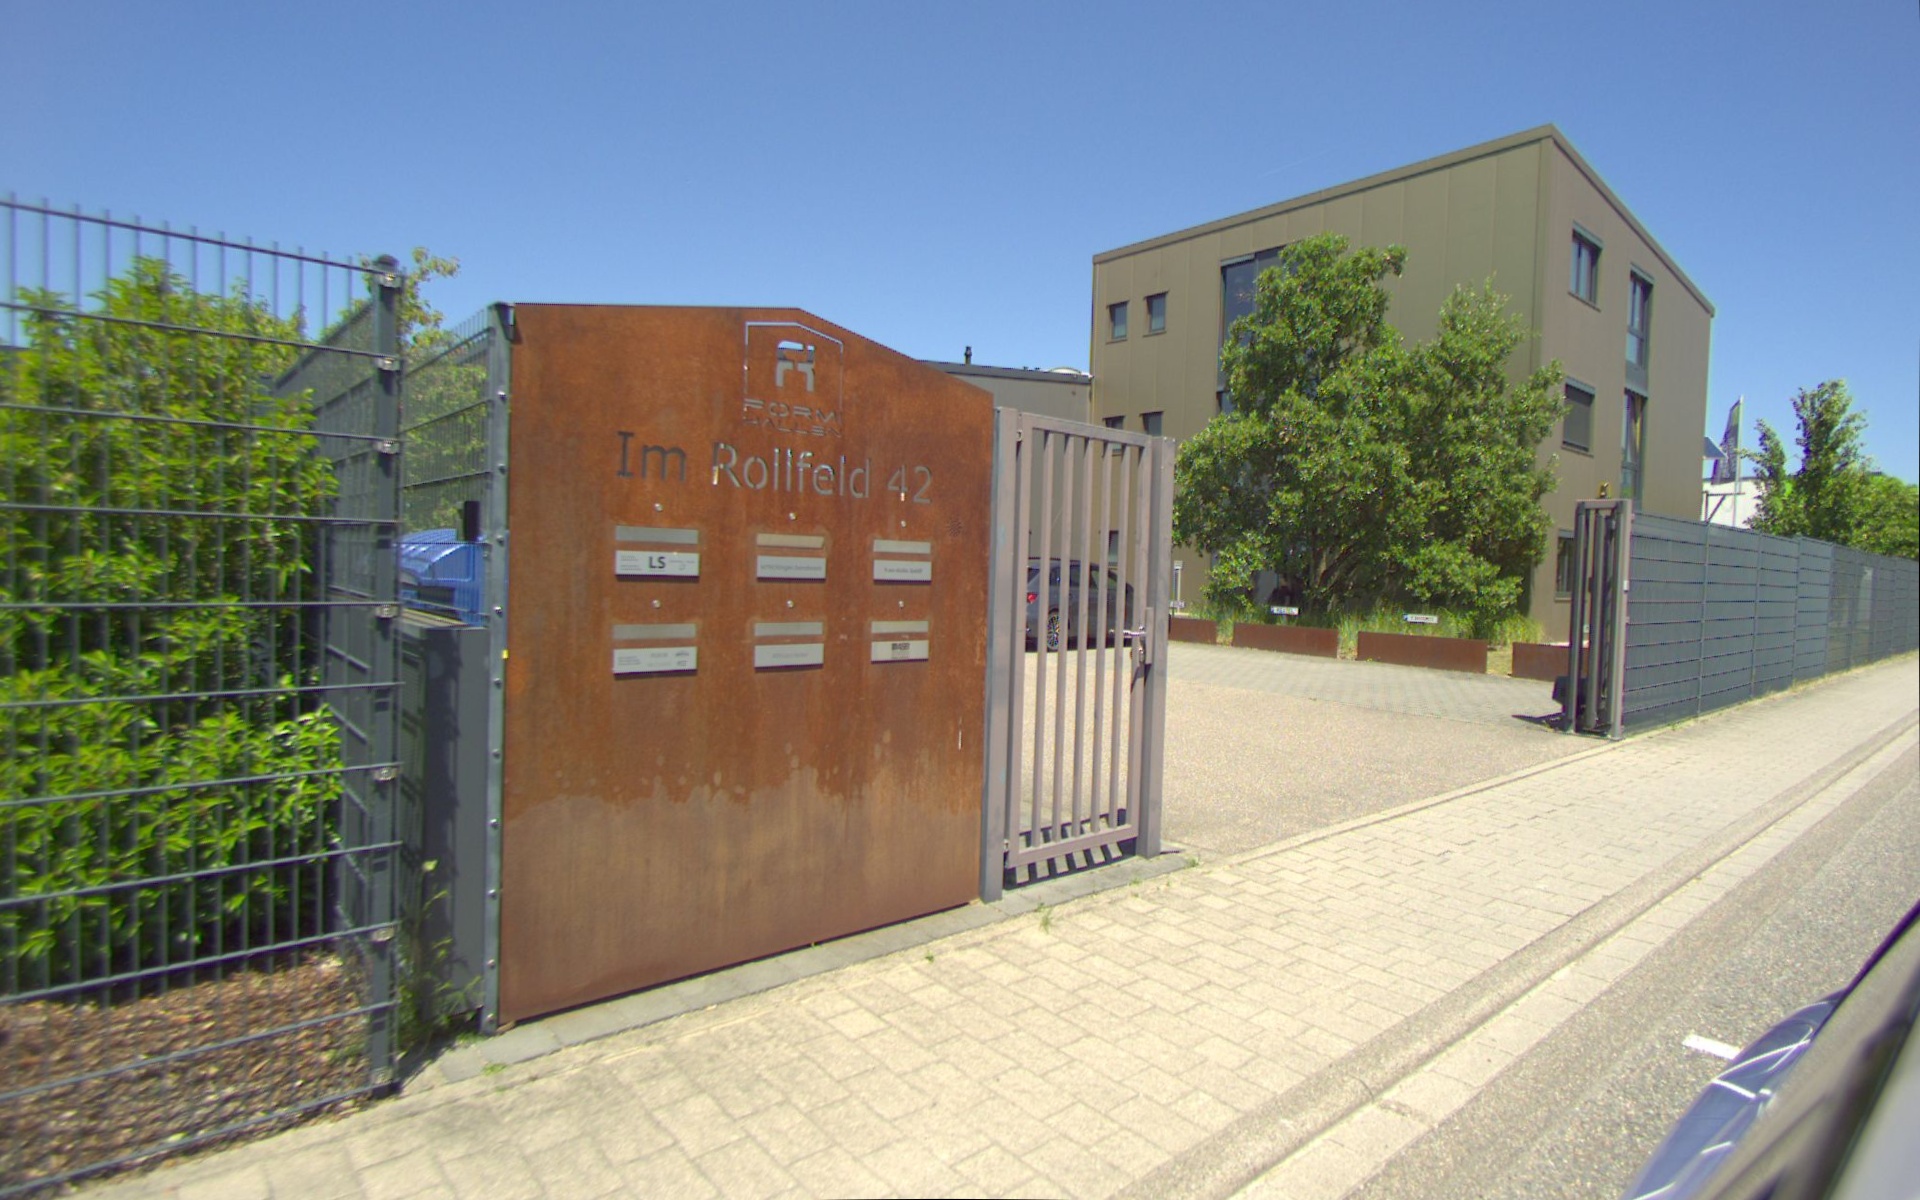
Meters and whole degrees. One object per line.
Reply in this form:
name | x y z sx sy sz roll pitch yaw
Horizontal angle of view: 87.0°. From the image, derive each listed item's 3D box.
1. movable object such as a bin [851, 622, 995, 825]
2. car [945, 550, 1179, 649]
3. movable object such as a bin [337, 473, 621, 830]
movable object such as a bin | -0.209 0.650 5.637 0.570 1.007 0.544 0 3 -41
car | 1.792 -0.055 17.019 3.930 1.461 1.658 0 3 -41
movable object such as a bin | -2.400 0.178 4.984 0.932 1.477 1.337 0 3 -41
